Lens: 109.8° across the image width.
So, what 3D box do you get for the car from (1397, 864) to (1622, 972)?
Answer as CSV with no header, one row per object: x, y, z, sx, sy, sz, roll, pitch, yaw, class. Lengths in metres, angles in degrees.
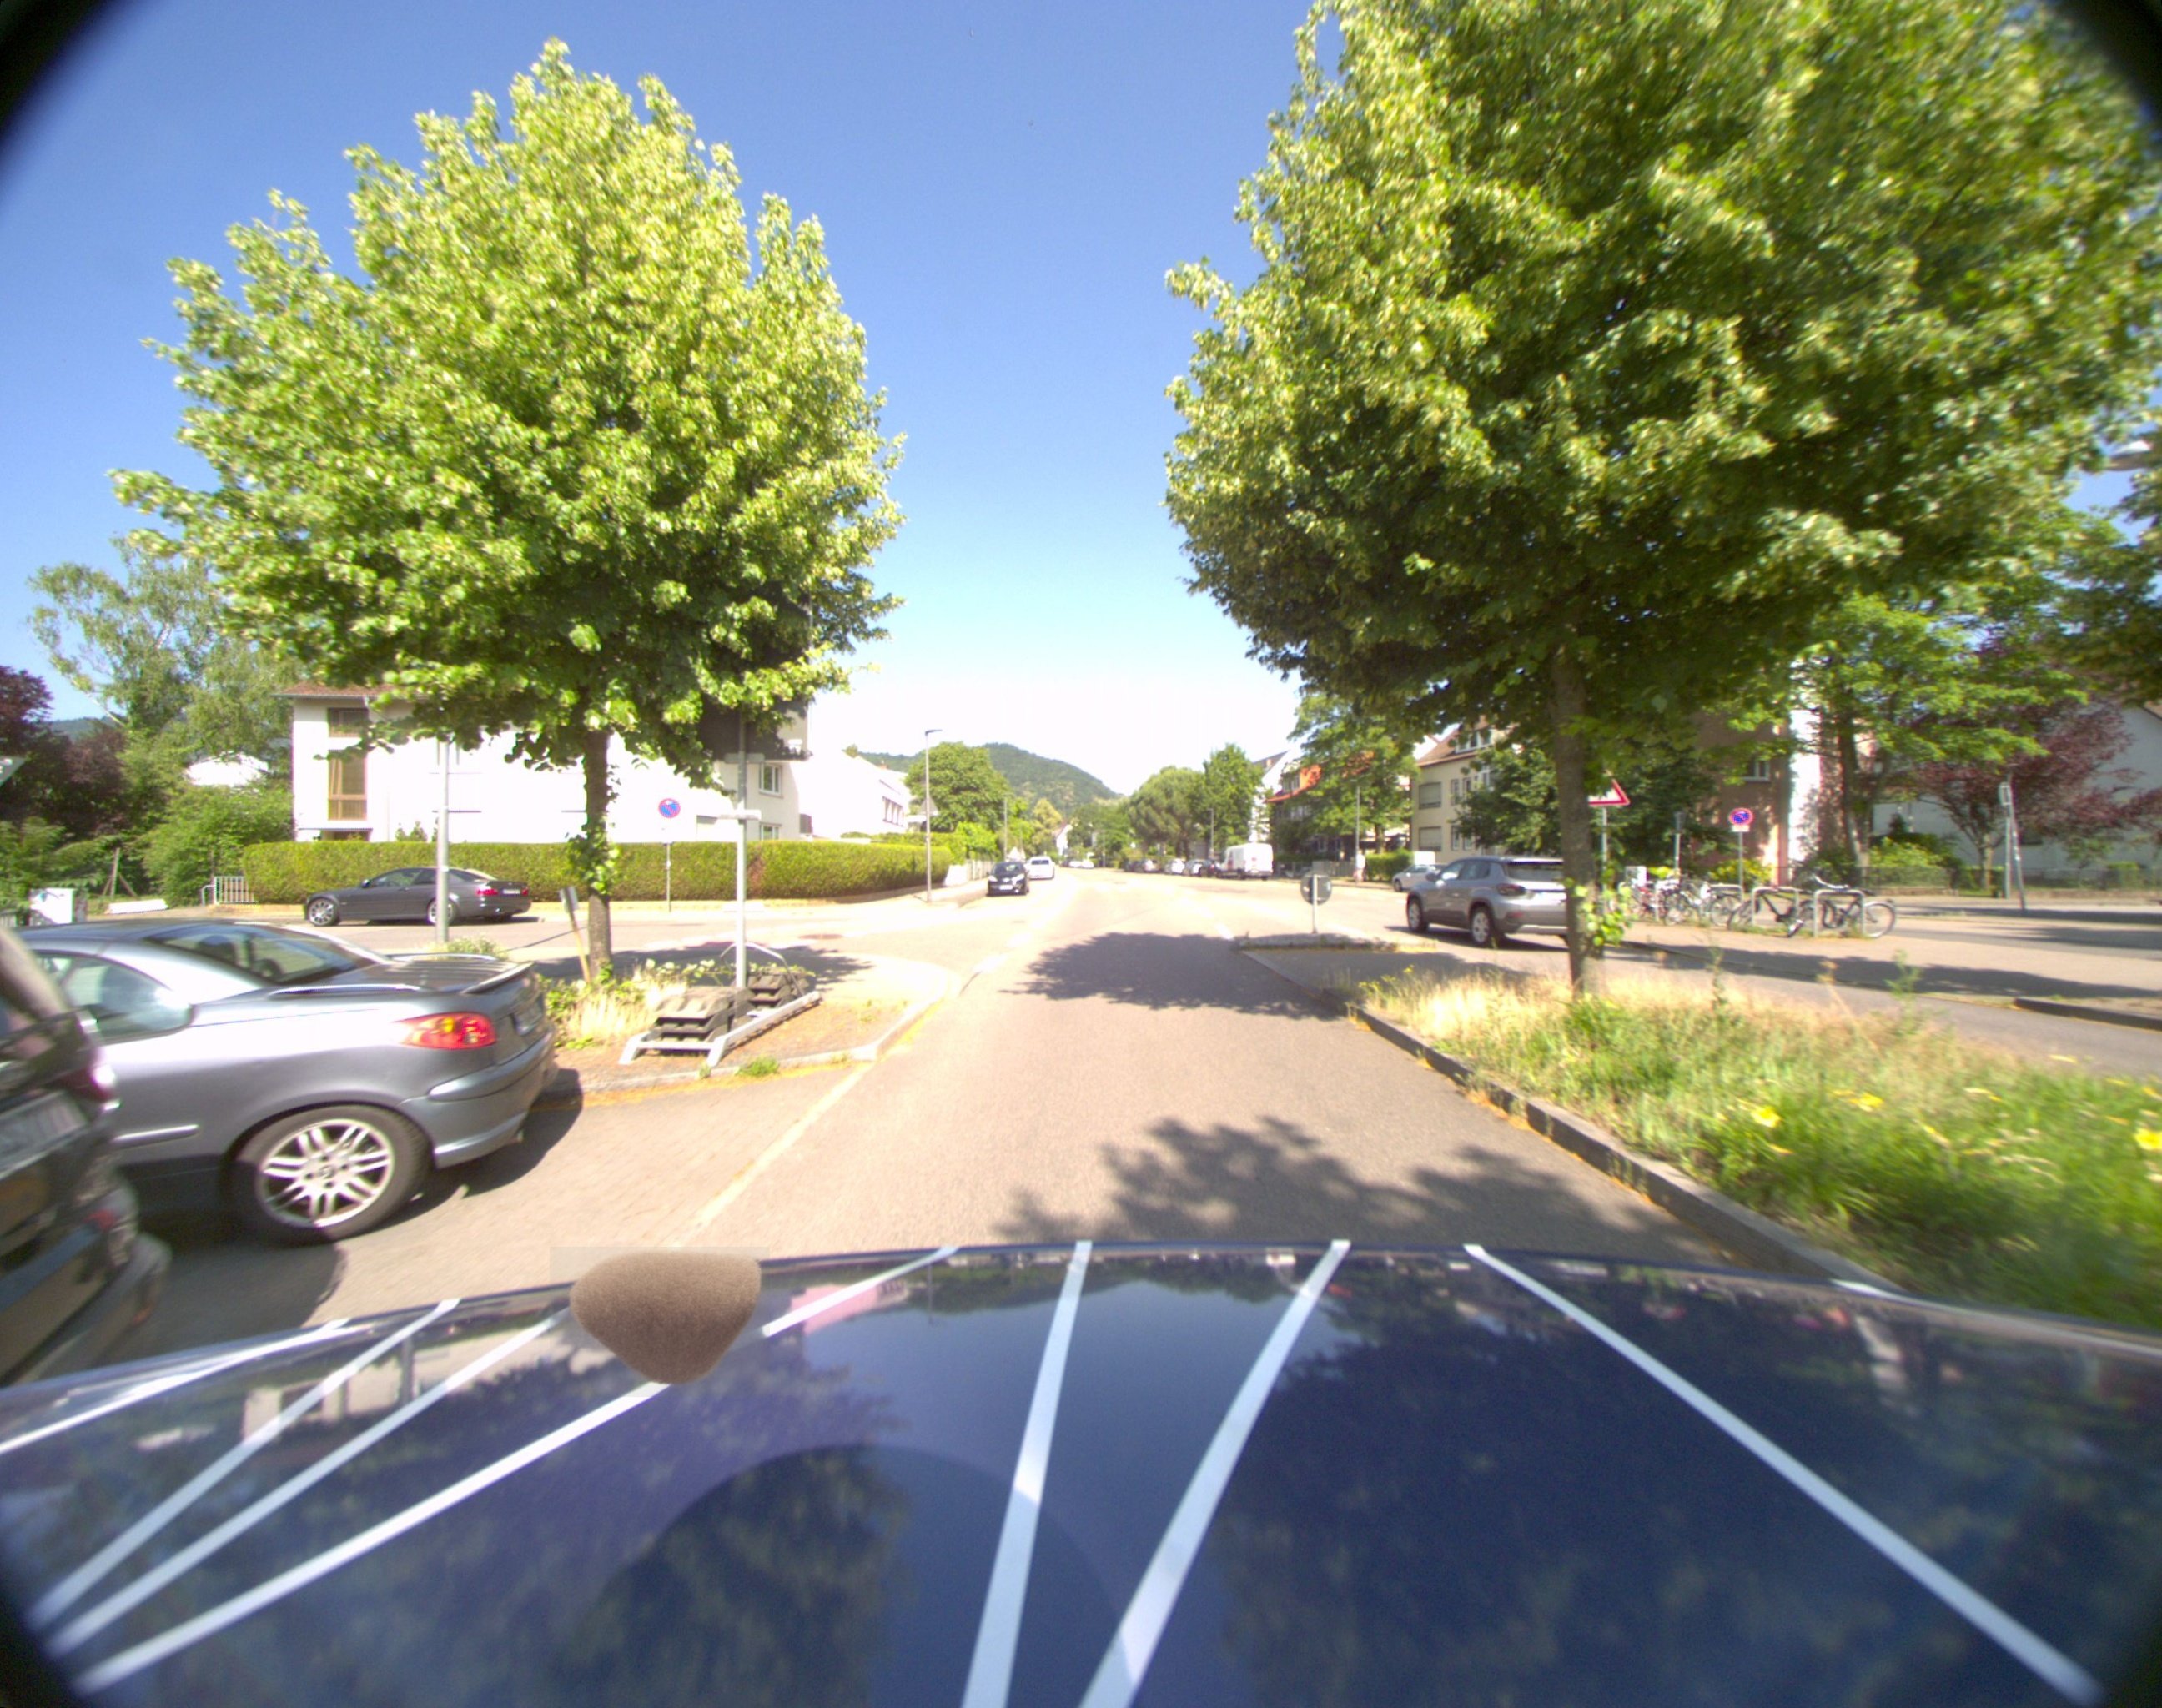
7.310,0.994,13.498,1.745,1.538,4.073,1,0,2,car

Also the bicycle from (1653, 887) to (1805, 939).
13.381,1.208,15.716,2.551,0.981,0.739,1,-1,-2,bicycle

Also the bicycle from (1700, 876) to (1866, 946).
13.401,1.071,14.540,2.522,1.249,0.739,1,0,-2,bicycle

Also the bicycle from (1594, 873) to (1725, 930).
13.634,1.111,17.953,2.551,1.249,0.739,1,0,-2,bicycle

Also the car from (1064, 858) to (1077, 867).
-2.011,1.653,141.764,2.000,1.674,3.997,0,0,-8,car

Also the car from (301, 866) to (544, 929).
-15.400,1.019,17.924,4.126,1.389,1.812,0,-3,1,car

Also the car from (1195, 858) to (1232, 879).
10.495,1.157,60.476,1.725,1.549,3.998,1,-1,-7,car

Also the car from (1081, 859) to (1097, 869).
1.303,1.536,121.884,1.960,1.543,3.997,0,0,-8,car

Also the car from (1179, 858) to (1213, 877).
9.867,1.188,65.617,1.725,1.549,4.670,1,-1,-7,car

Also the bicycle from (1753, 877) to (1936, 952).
13.430,1.047,13.404,2.551,1.249,0.739,0,0,-2,bicycle

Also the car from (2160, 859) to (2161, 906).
37.200,0.926,24.040,3.793,1.542,1.748,0,-1,-2,car

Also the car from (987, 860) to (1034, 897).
-2.994,1.014,32.879,1.621,1.382,4.000,-3,0,0,car

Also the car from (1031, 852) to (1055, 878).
-2.888,0.825,58.314,1.767,1.816,4.597,-2,1,-2,car

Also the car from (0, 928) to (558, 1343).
-4.720,1.068,3.107,4.005,1.229,1.749,0,0,-25,car

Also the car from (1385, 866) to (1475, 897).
15.176,1.157,33.273,1.725,1.259,3.998,1,-1,-7,car

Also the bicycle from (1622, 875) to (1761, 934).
13.572,1.109,16.927,2.551,1.232,0.739,1,0,-2,bicycle

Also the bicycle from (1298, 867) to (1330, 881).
16.961,1.450,55.345,2.074,0.995,0.775,0,0,-6,bicycle

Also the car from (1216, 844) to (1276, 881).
11.752,0.621,54.611,2.096,2.481,5.947,1,-1,-11,car

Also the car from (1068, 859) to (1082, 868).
-1.013,1.619,134.394,2.000,1.608,3.997,0,0,-8,car

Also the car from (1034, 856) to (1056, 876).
-2.968,1.000,63.876,1.767,1.584,4.313,0,-1,-2,car

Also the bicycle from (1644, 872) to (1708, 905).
20.416,1.175,26.088,1.711,1.074,0.379,-1,-1,41,bicycle

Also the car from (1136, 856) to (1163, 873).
7.386,1.115,82.443,1.847,1.754,4.582,1,-1,-9,car

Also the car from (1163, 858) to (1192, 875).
9.035,1.201,71.483,1.725,1.549,3.998,1,-1,-7,car

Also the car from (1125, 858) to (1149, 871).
6.408,1.180,87.747,1.847,1.448,4.191,1,-1,-9,car

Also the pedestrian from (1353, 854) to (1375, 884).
16.608,0.871,44.643,0.976,1.769,0.725,0,0,-3,pedestrian

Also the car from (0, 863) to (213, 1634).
-4.055,0.838,0.527,4.127,1.630,2.039,0,0,-33,car
